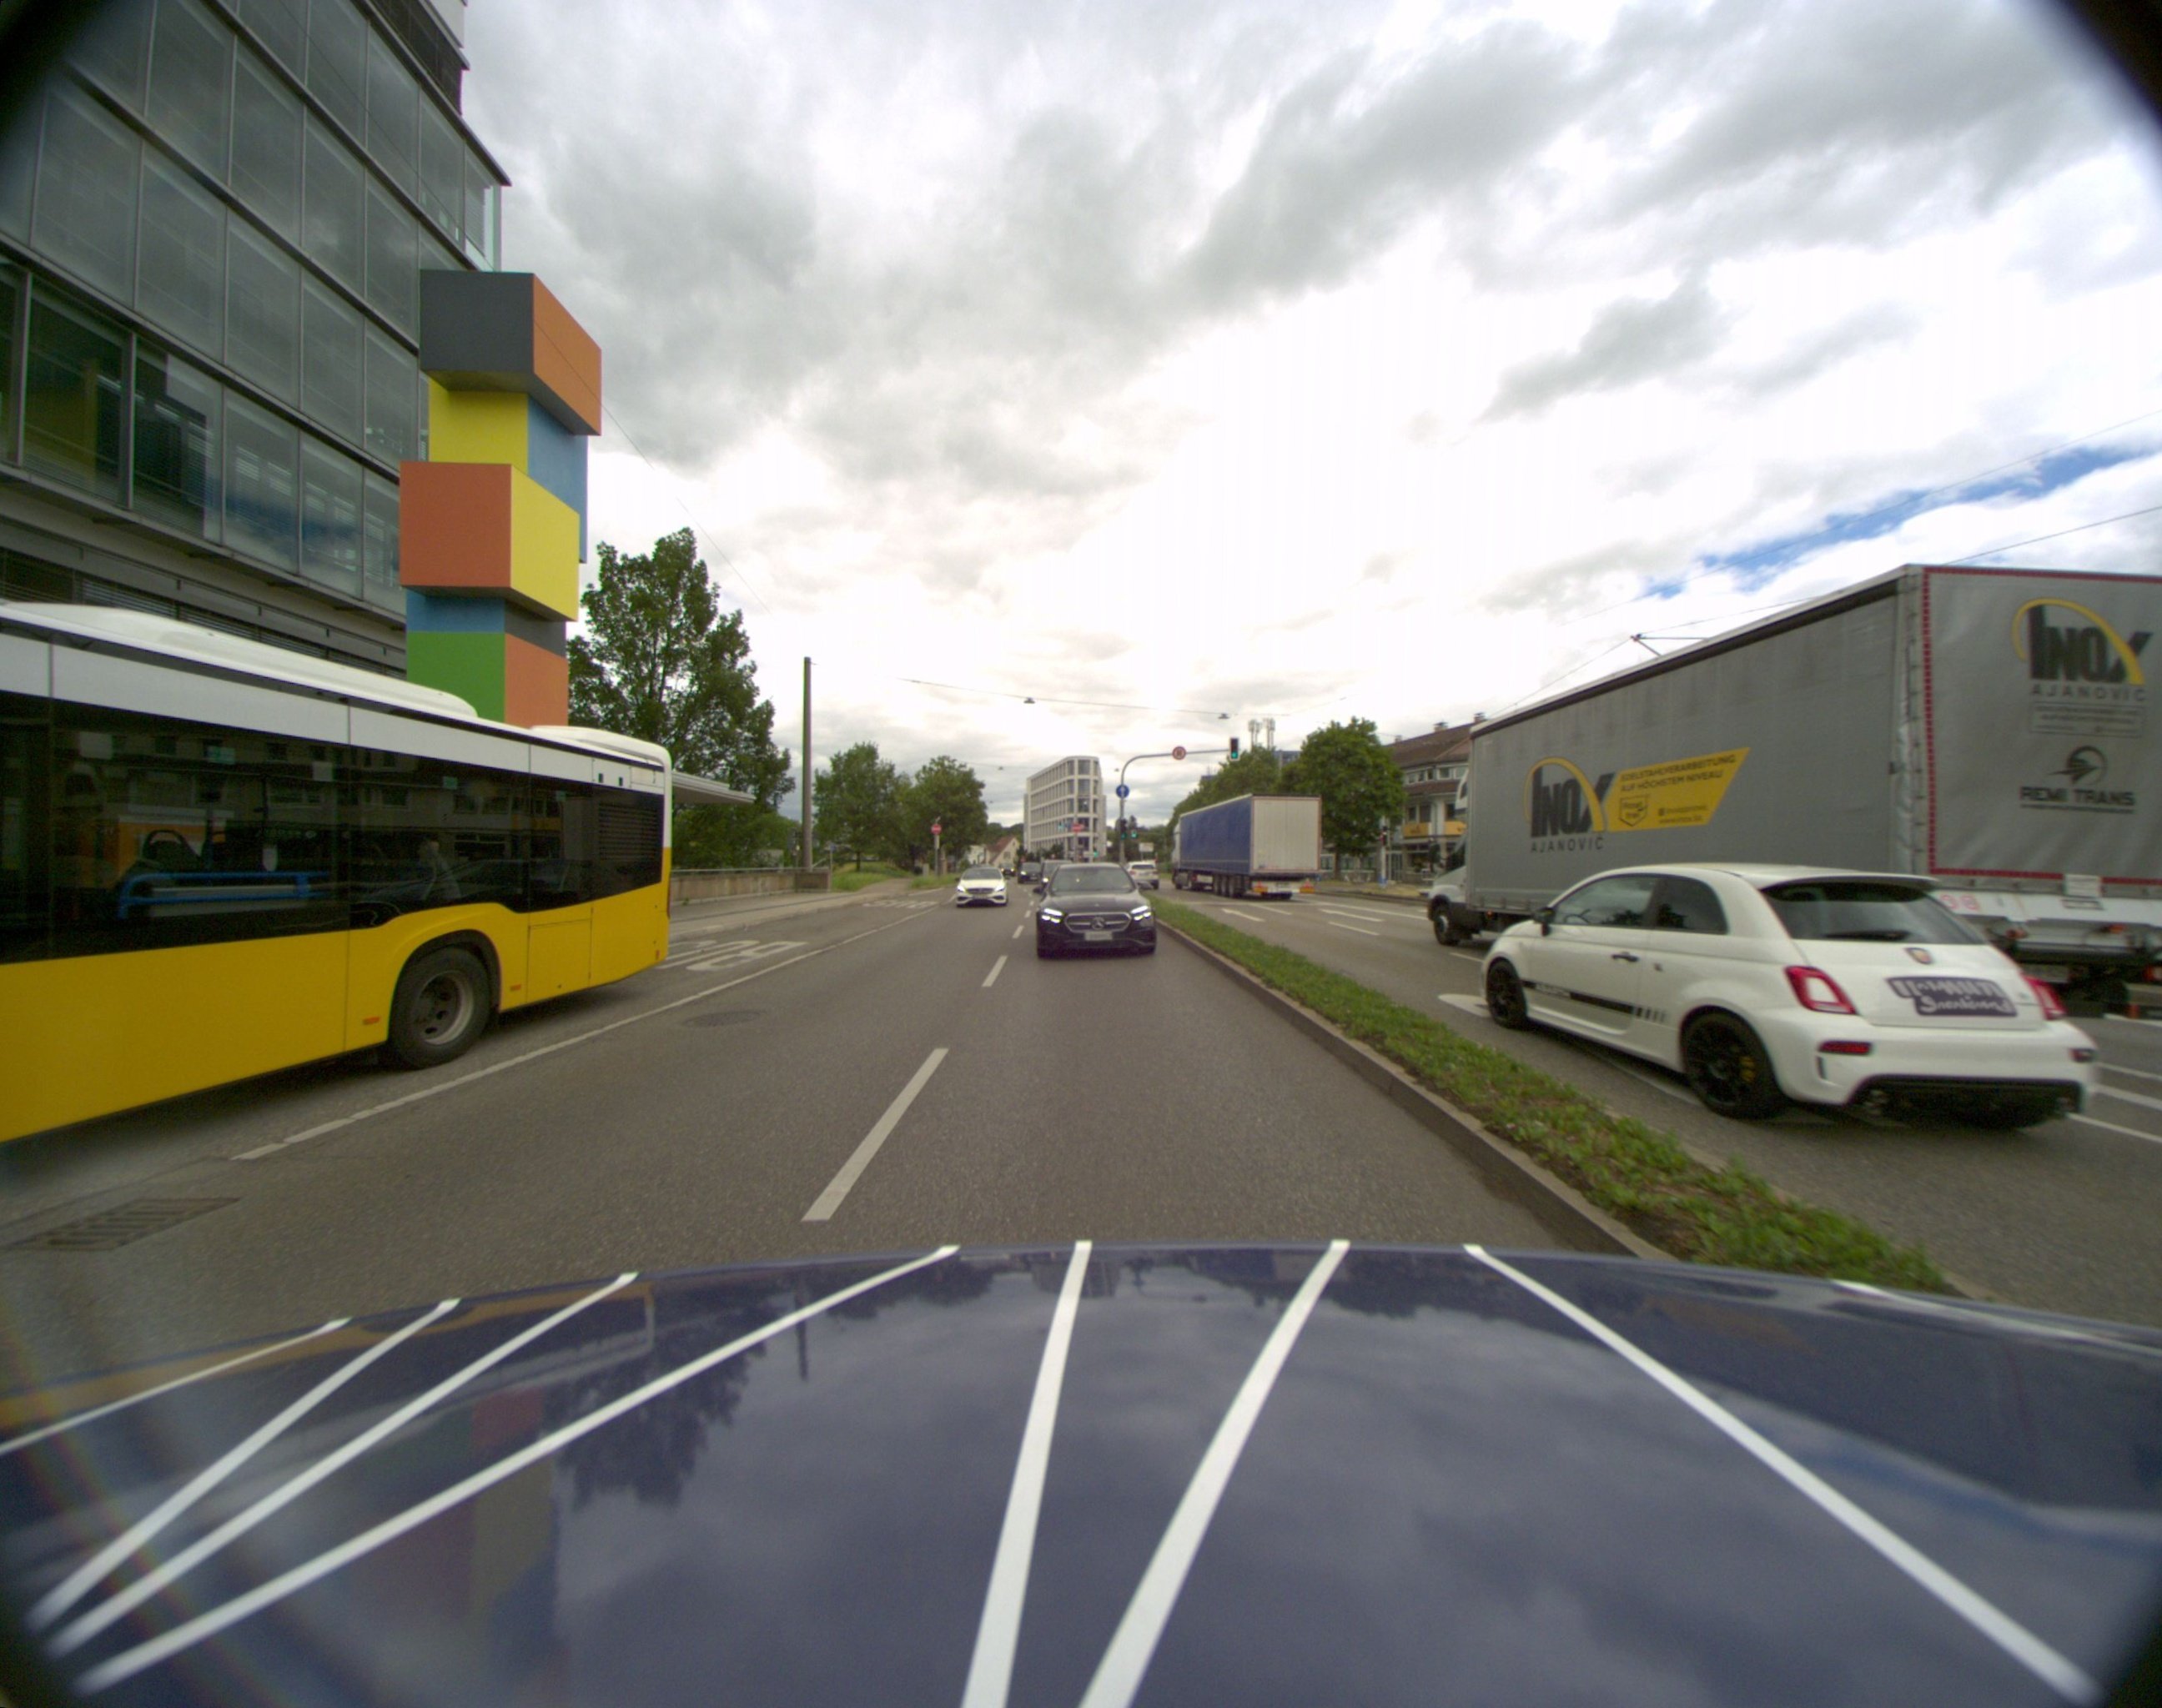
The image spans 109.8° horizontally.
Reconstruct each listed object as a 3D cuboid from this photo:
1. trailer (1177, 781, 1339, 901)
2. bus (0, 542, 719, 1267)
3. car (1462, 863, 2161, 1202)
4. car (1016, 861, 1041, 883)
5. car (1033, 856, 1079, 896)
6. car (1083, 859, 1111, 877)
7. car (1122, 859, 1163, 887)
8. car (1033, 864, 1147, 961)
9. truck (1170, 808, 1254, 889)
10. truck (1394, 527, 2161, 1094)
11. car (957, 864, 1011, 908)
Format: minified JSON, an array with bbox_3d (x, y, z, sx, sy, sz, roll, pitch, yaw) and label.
[{"bbox_3d":[7.263,-0.389,34.513,3.111,4.244,14.843,0,0,-3],"label":"trailer"},{"bbox_3d":[-6.326,0.201,5.443,3.044,3.217,9.336,1,0,0],"label":"bus"},{"bbox_3d":[4.394,0.851,5.363,1.592,1.493,3.718,0,0,1],"label":"car"},{"bbox_3d":[-3.776,1.271,55.151,1.735,1.474,4.368,-1,0,-3],"label":"car"},{"bbox_3d":[-1.122,0.989,35.959,1.734,1.680,4.369,-1,1,3],"label":"car"},{"bbox_3d":[1.379,1.201,66.986,1.999,1.450,4.770,0,0,-5],"label":"car"},{"bbox_3d":[3.448,1.038,43.209,1.791,1.507,4.363,0,0,-3],"label":"car"},{"bbox_3d":[0.079,0.990,14.881,1.873,1.542,4.772,0,0,-2],"label":"car"},{"bbox_3d":[6.886,-0.241,40.838,3.100,3.998,6.154,0,0,-4],"label":"truck"},{"bbox_3d":[7.474,-0.277,9.950,2.945,3.935,9.165,2,0,1],"label":"truck"},{"bbox_3d":[-3.714,1.140,28.759,1.874,1.496,4.769,0,0,-9],"label":"car"}]
